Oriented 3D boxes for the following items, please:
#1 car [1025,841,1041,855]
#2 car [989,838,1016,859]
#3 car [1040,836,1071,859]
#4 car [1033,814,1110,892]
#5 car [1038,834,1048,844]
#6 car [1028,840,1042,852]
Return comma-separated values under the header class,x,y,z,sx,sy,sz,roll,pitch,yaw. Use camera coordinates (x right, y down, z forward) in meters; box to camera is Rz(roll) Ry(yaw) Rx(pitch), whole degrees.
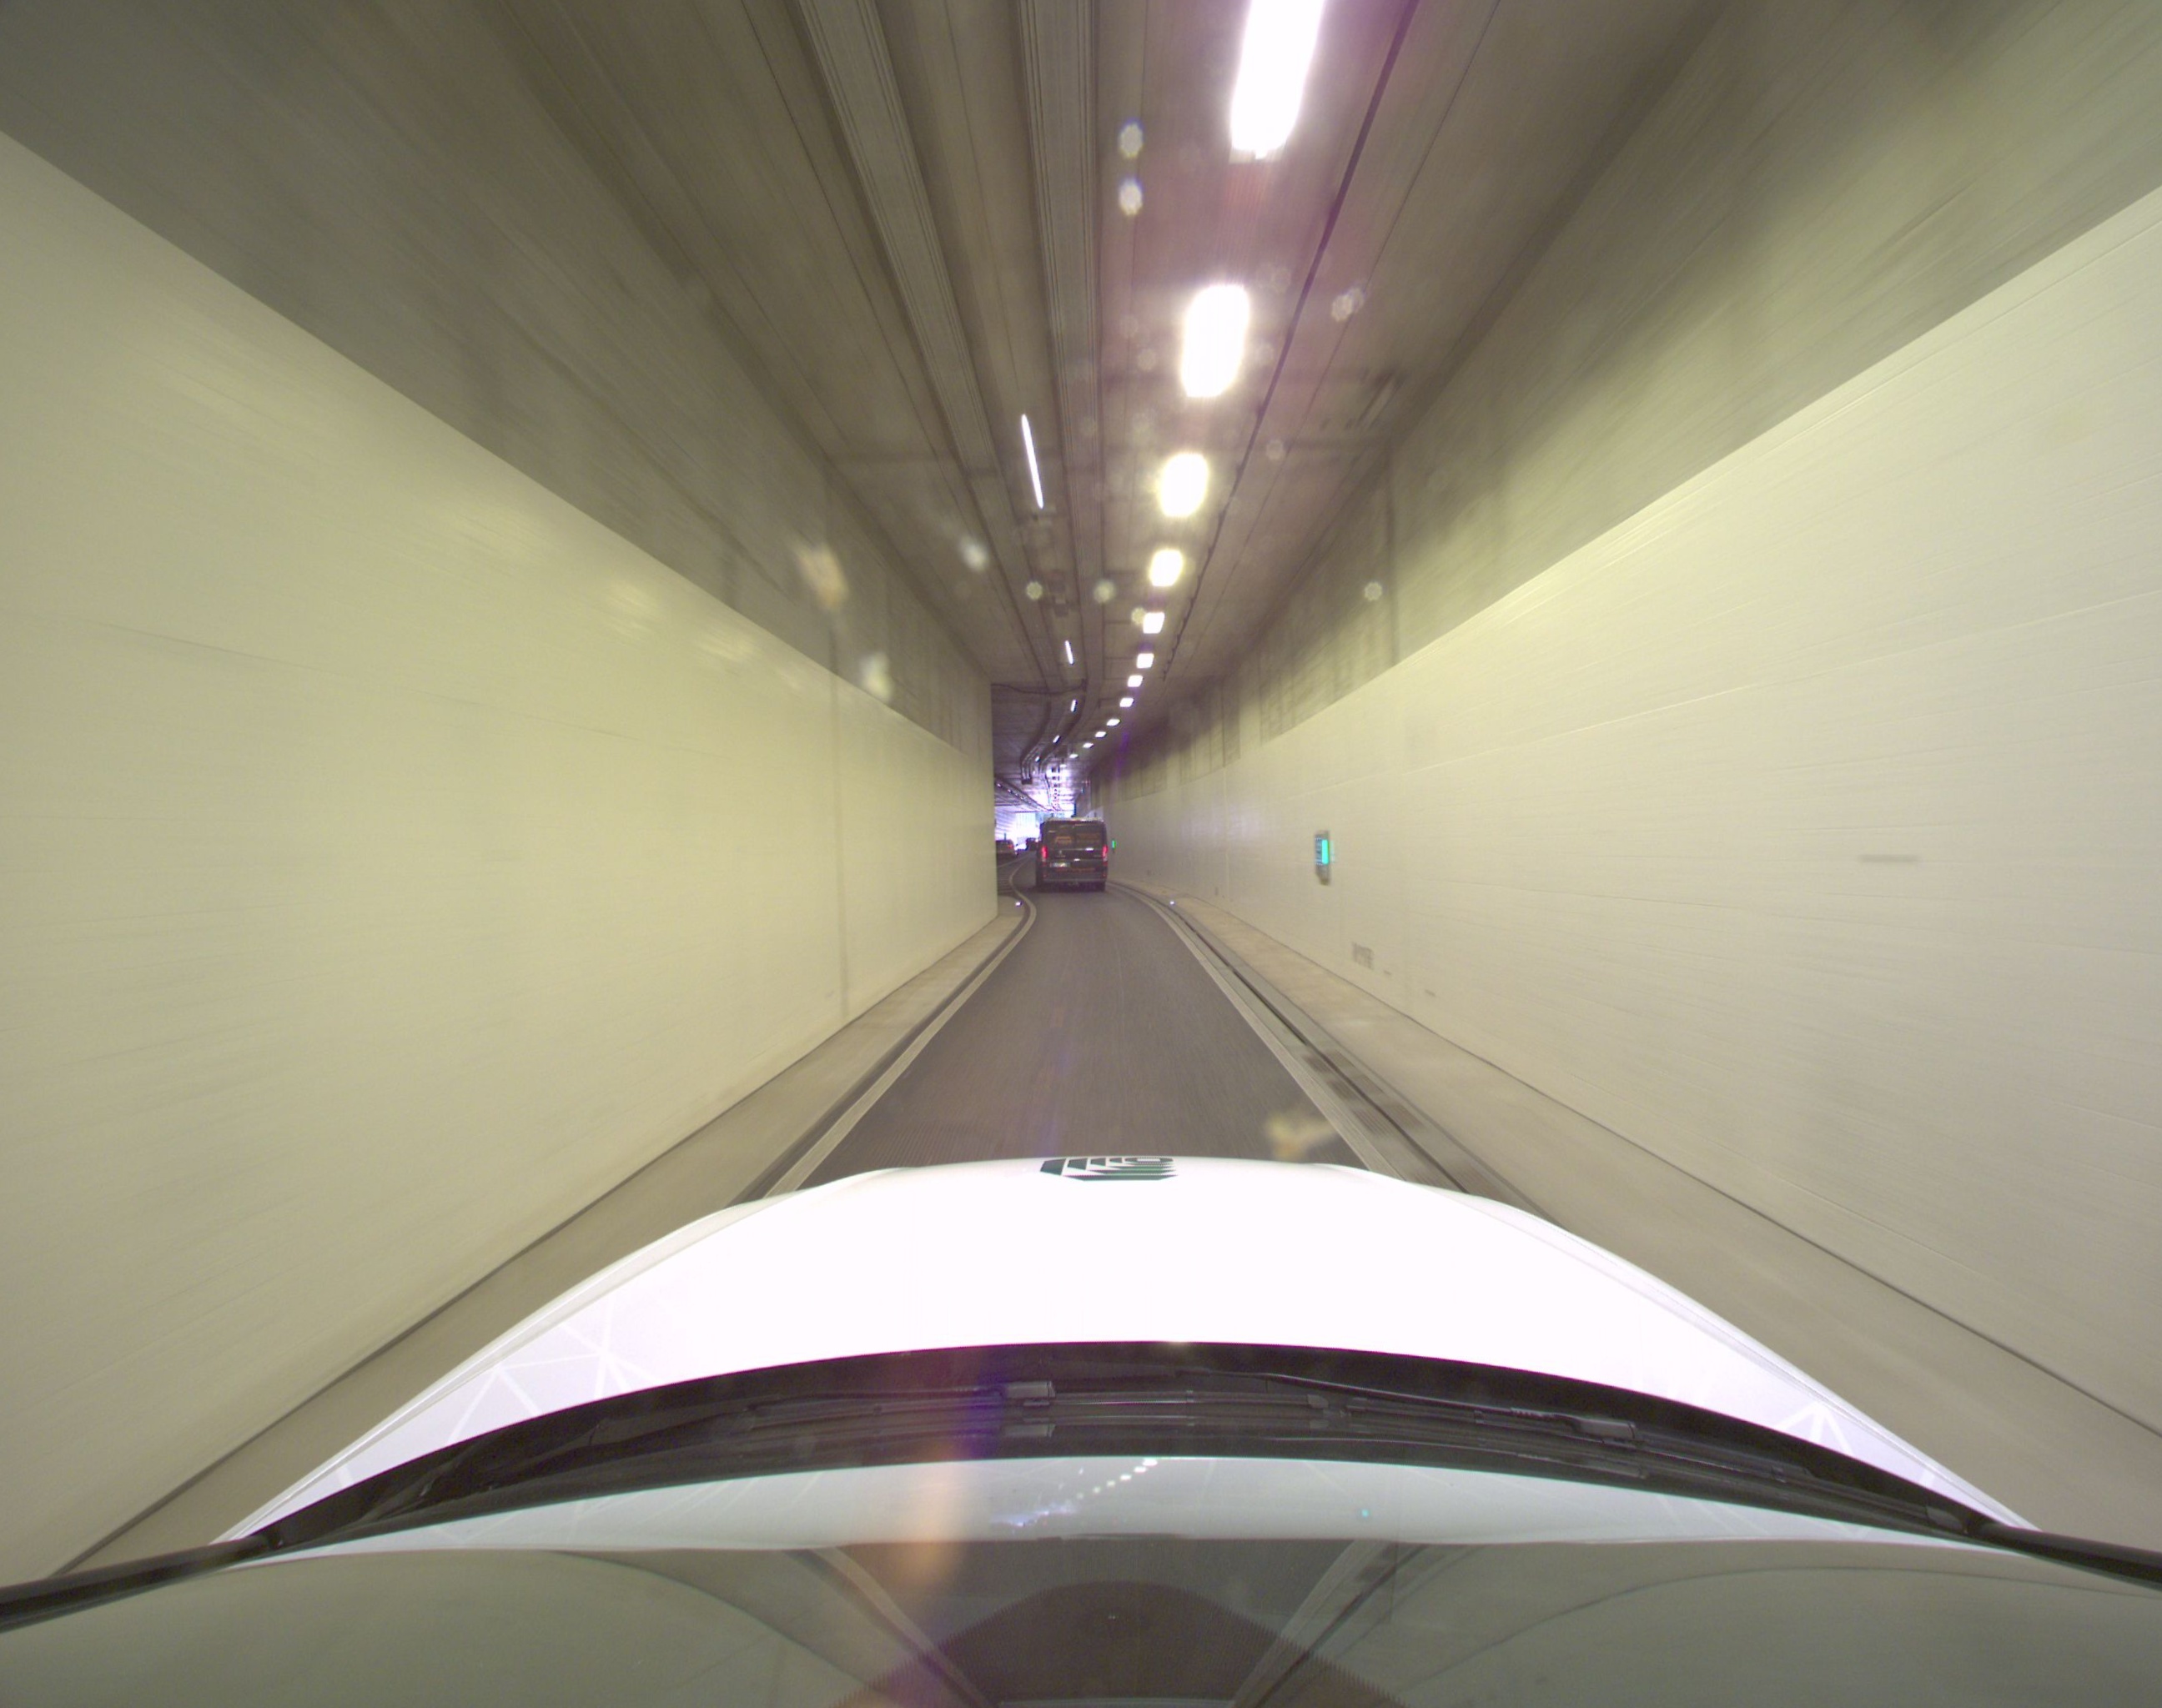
class,x,y,z,sx,sy,sz,roll,pitch,yaw
car,-5.773,-0.682,97.928,1.872,1.624,4.216,0,0,-3
car,-6.050,-0.395,62.809,1.872,1.581,4.216,0,0,-3
car,-1.799,-0.500,58.500,2.078,1.513,4.636,-2,1,0
car,-0.412,-0.082,26.347,2.155,2.265,4.629,0,1,-5
car,-6.796,-2.687,145.450,1.872,1.624,4.216,0,0,-3
car,-6.530,-1.123,116.128,1.872,1.624,4.216,0,0,-3
